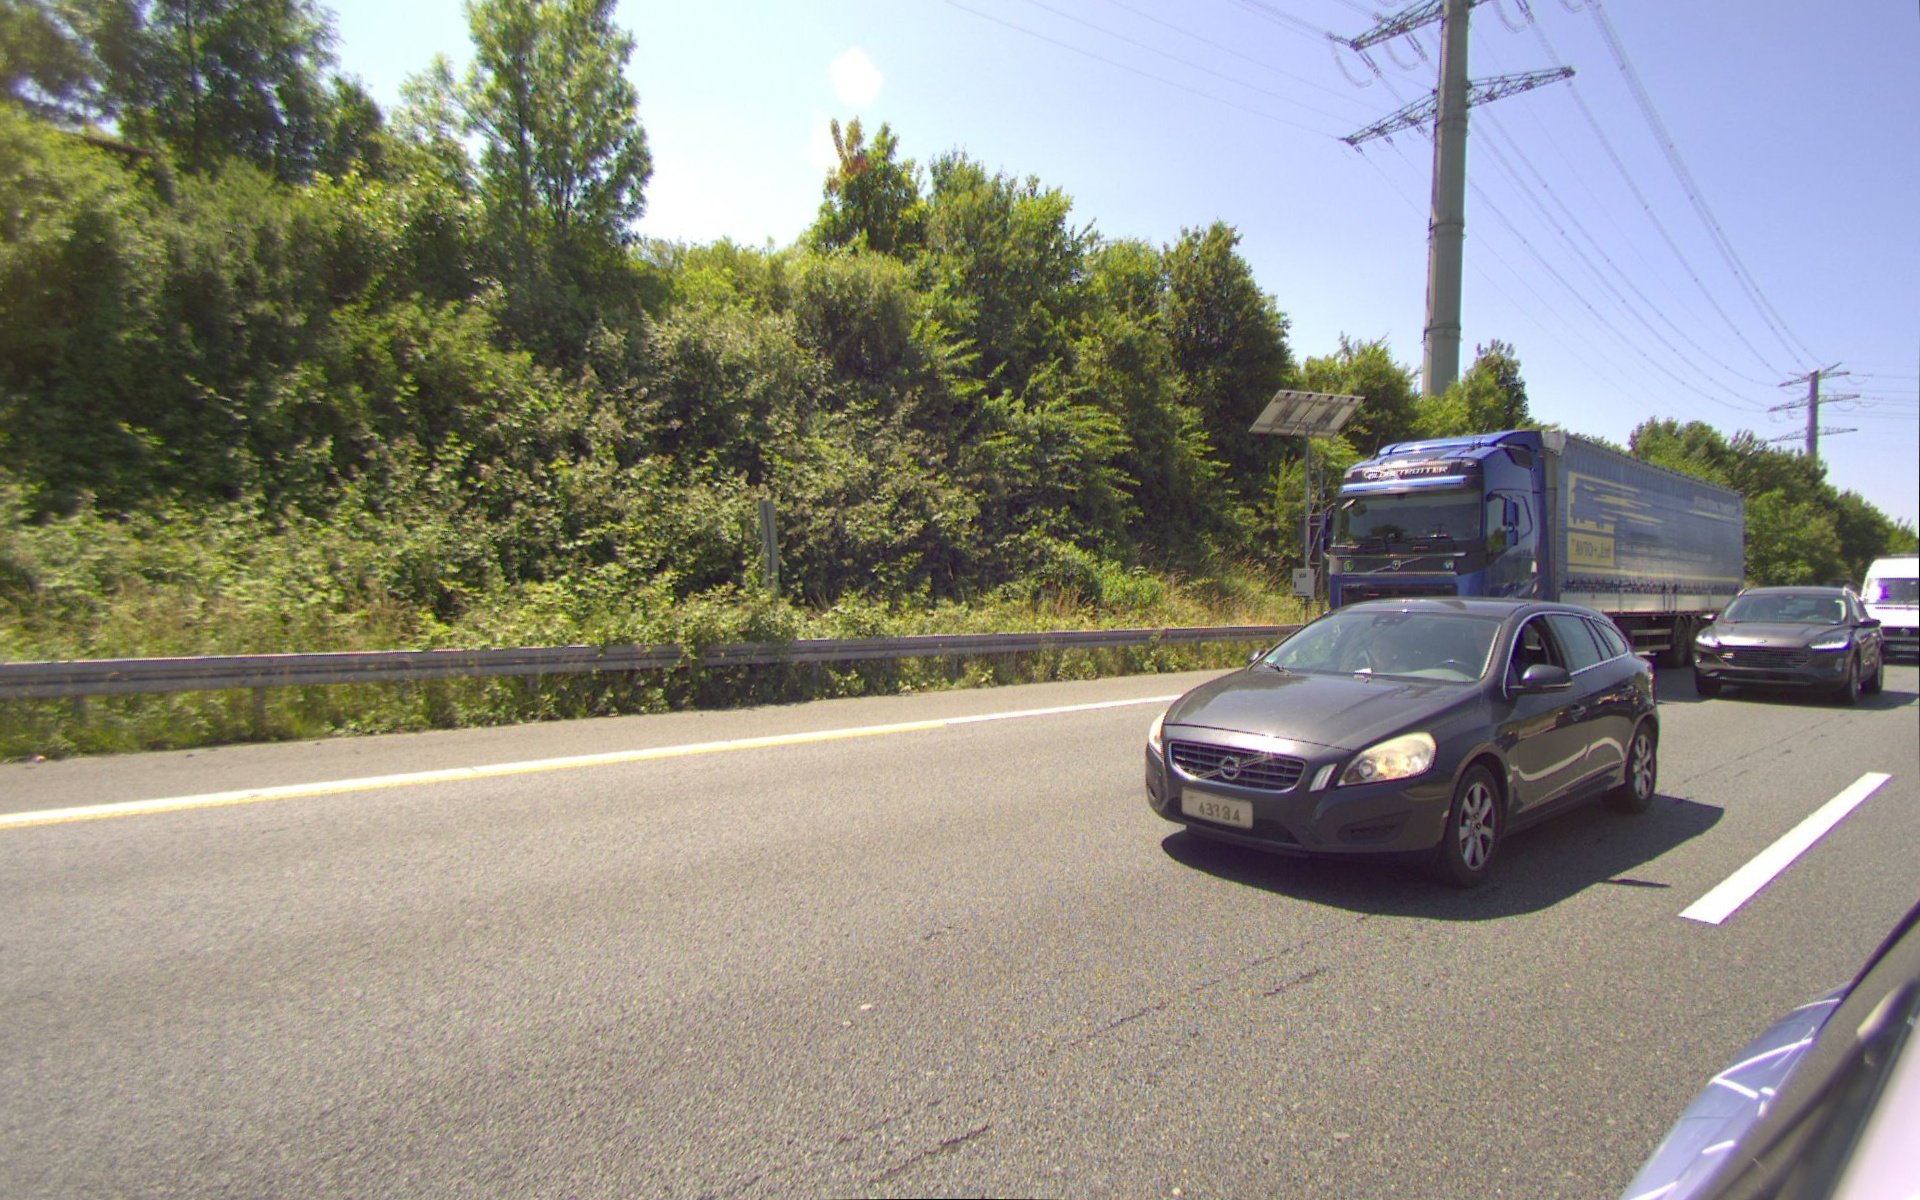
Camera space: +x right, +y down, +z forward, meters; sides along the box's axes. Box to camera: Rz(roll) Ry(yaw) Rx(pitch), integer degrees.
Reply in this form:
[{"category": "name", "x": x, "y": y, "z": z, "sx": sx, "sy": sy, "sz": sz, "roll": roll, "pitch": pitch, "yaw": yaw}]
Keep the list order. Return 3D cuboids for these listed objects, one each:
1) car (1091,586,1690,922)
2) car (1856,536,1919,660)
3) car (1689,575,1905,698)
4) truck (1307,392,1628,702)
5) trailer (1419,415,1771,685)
[{"category": "car", "x": 2.992, "y": 0.642, "z": 6.502, "sx": 4.431, "sy": 1.437, "sz": 1.798, "roll": -1, "pitch": 0, "yaw": -41}, {"category": "car", "x": 23.685, "y": -0.079, "z": 24.576, "sx": 6.589, "sy": 2.753, "sz": 2.040, "roll": -1, "pitch": 0, "yaw": -41}, {"category": "car", "x": 12.864, "y": 0.462, "z": 15.468, "sx": 4.146, "sy": 1.631, "sz": 1.892, "roll": -1, "pitch": 0, "yaw": -41}, {"category": "truck", "x": 8.428, "y": -0.743, "z": 16.566, "sx": 5.538, "sy": 4.197, "sz": 2.790, "roll": -1, "pitch": 0, "yaw": -41}, {"category": "trailer", "x": 13.957, "y": -0.866, "z": 21.391, "sx": 12.654, "sy": 4.317, "sz": 2.771, "roll": -1, "pitch": 0, "yaw": -41}]
